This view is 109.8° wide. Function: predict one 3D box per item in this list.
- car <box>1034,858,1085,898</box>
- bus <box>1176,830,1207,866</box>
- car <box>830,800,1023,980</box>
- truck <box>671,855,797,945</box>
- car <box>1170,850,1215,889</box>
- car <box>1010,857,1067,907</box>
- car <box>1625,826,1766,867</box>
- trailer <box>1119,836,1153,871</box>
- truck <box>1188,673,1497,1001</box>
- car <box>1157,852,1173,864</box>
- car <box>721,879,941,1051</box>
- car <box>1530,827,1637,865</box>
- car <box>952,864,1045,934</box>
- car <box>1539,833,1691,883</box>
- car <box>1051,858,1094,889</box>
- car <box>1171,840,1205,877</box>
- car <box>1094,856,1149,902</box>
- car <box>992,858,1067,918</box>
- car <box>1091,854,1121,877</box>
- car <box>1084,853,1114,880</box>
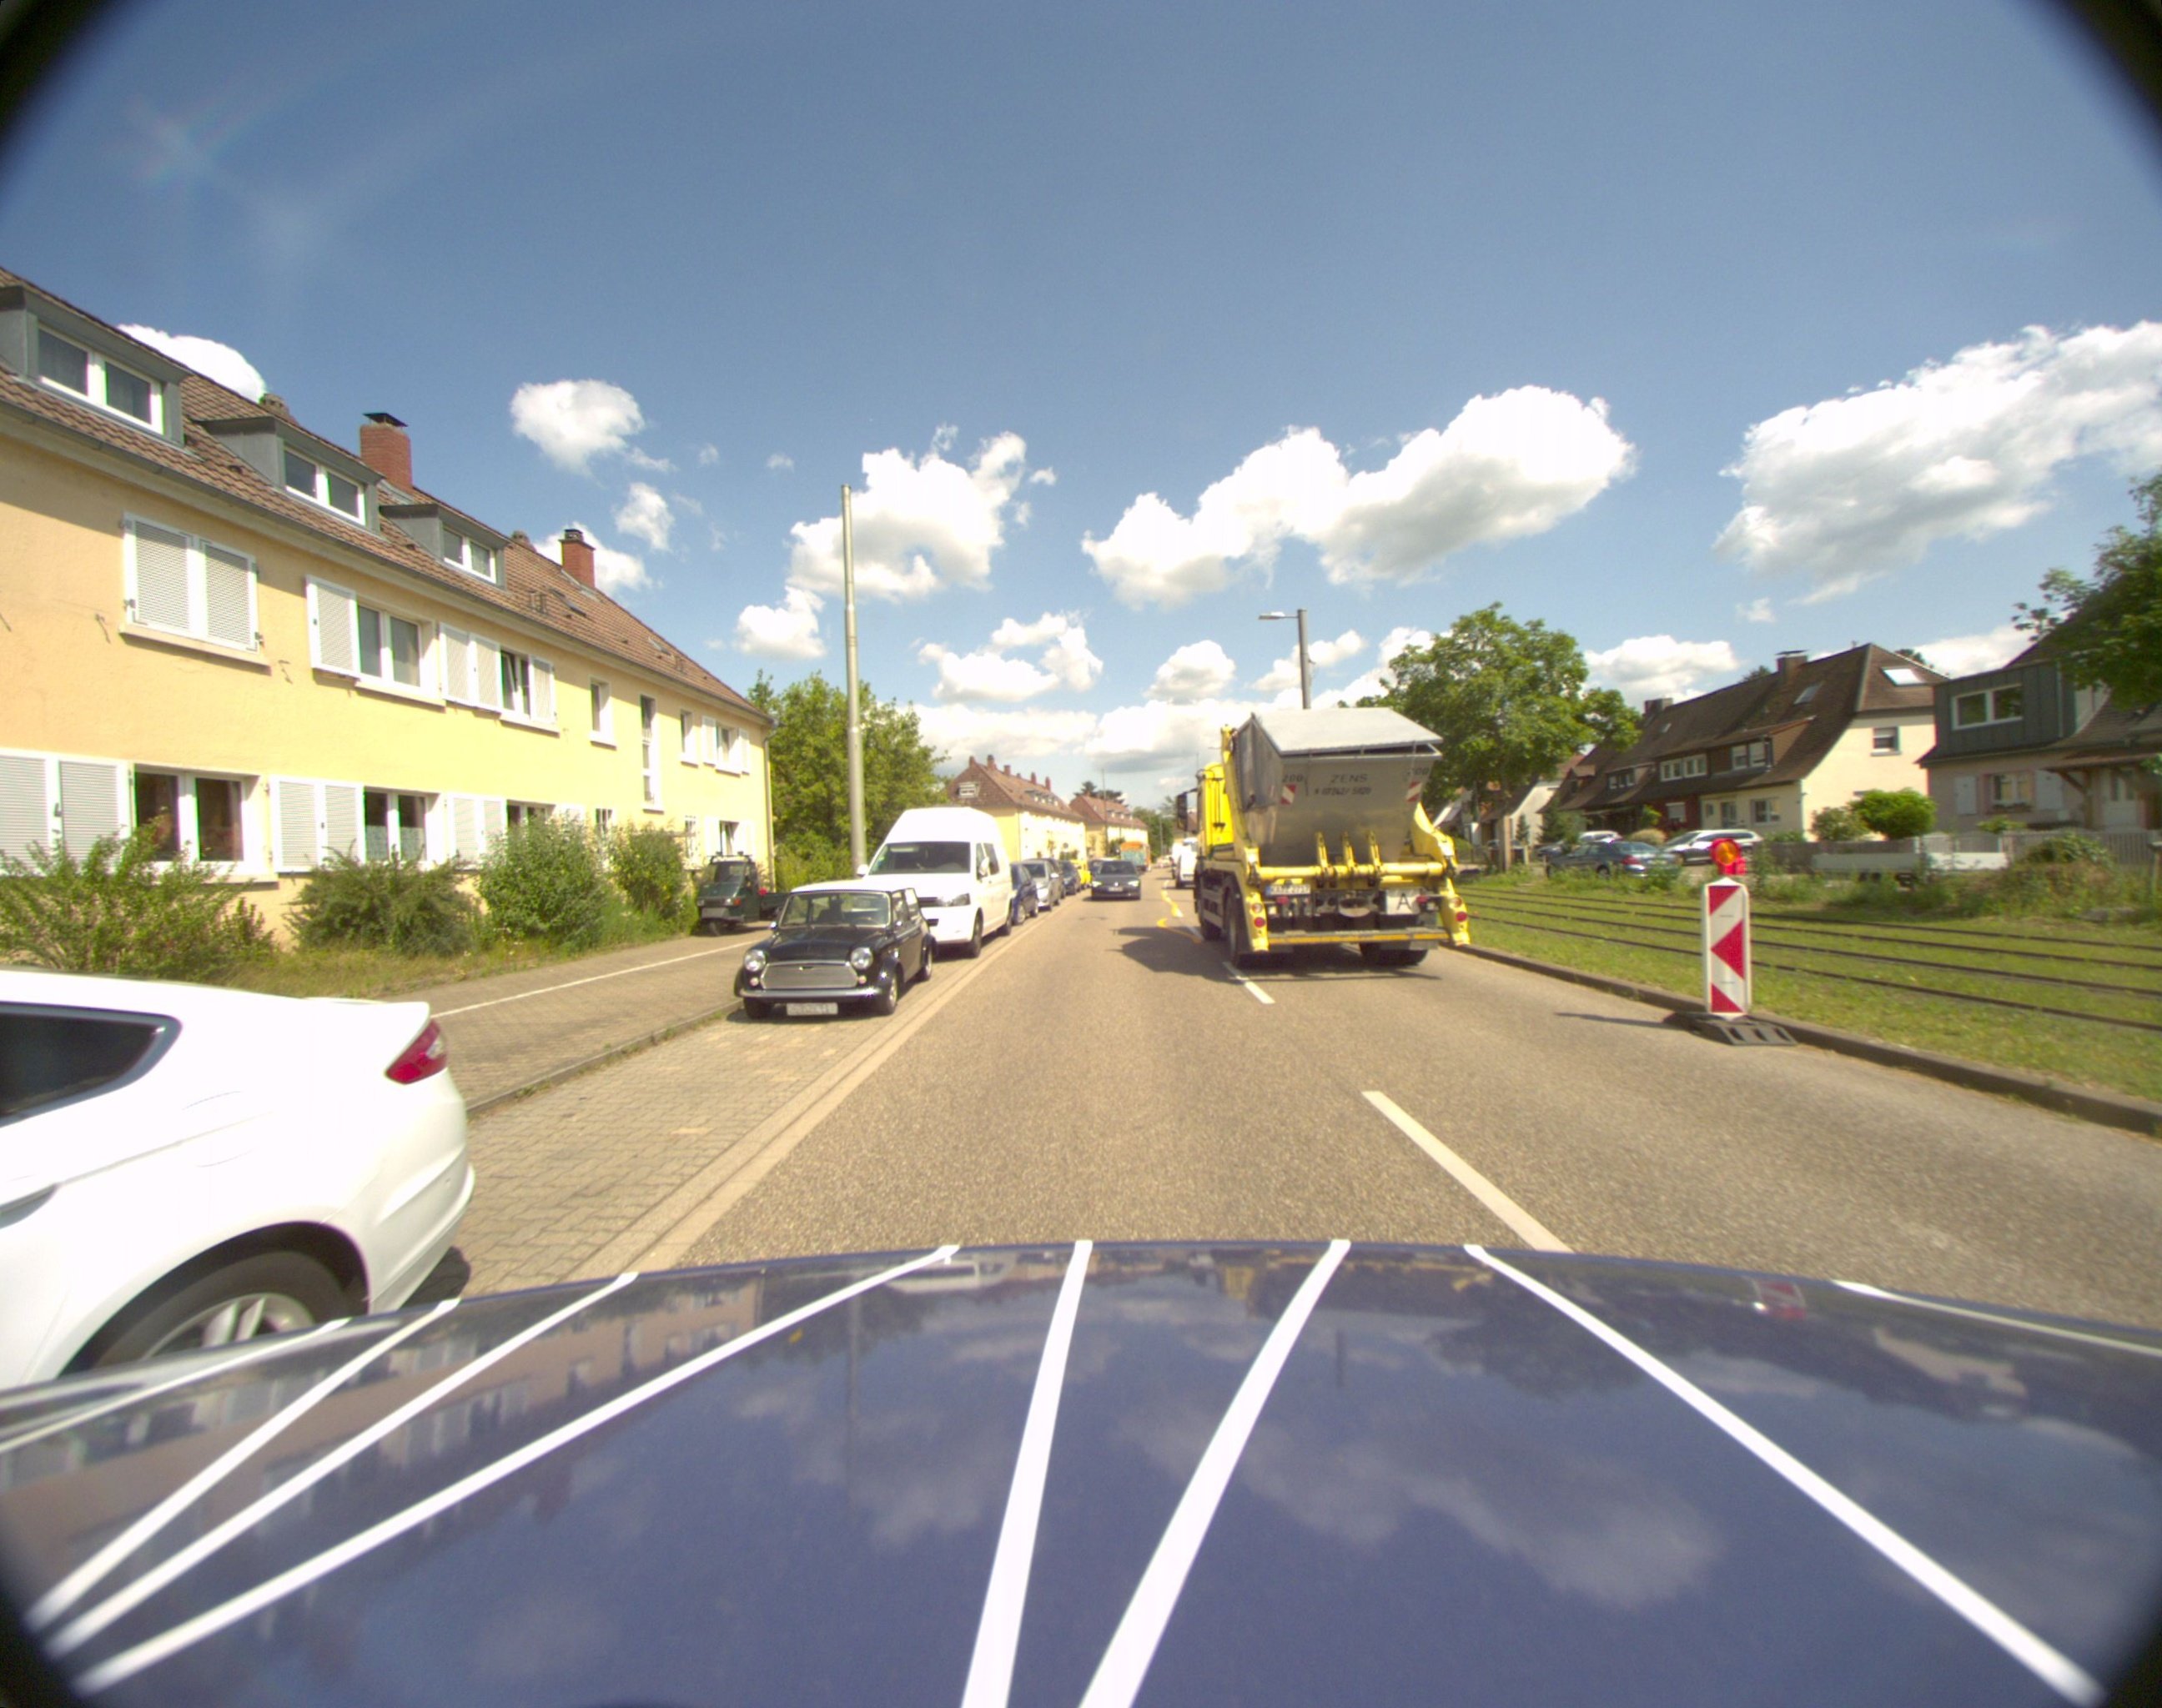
[{"bbox_3d":[-0.849,0.967,32.259,1.640,1.473,4.126,-3,0,4],"label":"car"},{"bbox_3d":[11.504,-0.578,79.877,2.641,3.392,12.253,-1,0,6],"label":"bus"},{"bbox_3d":[-2.369,0.496,13.369,1.934,2.466,5.518,-2,0,3],"label":"car"},{"bbox_3d":[-7.238,0.899,16.072,1.349,1.679,2.441,-2,1,4],"label":"truck"},{"bbox_3d":[5.500,0.738,37.950,1.738,1.763,4.309,-3,0,2],"label":"car"},{"bbox_3d":[-1.463,0.955,27.540,1.640,1.593,3.932,-3,0,2],"label":"car"},{"bbox_3d":[26.824,-0.332,33.296,4.480,1.515,1.926,-3,0,5],"label":"car"},{"bbox_3d":[5.569,-0.061,76.509,2.695,3.208,5.086,-3,0,11],"label":"trailer"},{"bbox_3d":[3.269,-0.166,11.631,2.565,3.439,7.151,-1,0,3],"label":"truck"},{"bbox_3d":[10.904,0.508,98.031,1.465,1.493,4.113,-2,1,14],"label":"car"},{"bbox_3d":[-2.552,1.056,8.487,1.344,1.332,3.287,-3,1,-1],"label":"car"},{"bbox_3d":[27.800,-0.446,42.151,4.480,1.825,2.066,-3,0,5],"label":"car"},{"bbox_3d":[-1.918,1.029,18.725,1.539,1.437,3.738,-3,0,4],"label":"car"},{"bbox_3d":[17.157,0.114,24.764,1.823,1.398,4.814,-3,0,5],"label":"car"},{"bbox_3d":[-0.365,0.937,37.773,1.639,1.473,3.934,0,0,6],"label":"car"},{"bbox_3d":[7.657,0.317,54.718,2.107,2.429,5.573,-3,0,6],"label":"car"},{"bbox_3d":[1.599,0.883,28.793,1.741,1.513,4.703,-1,1,7],"label":"car"},{"bbox_3d":[-1.485,0.970,23.356,1.640,1.593,4.030,-3,0,4],"label":"car"},{"bbox_3d":[1.867,0.818,55.701,1.580,1.504,4.462,-3,0,10],"label":"car"},{"bbox_3d":[1.221,0.826,50.595,1.552,1.631,4.248,-3,0,7],"label":"car"}]
